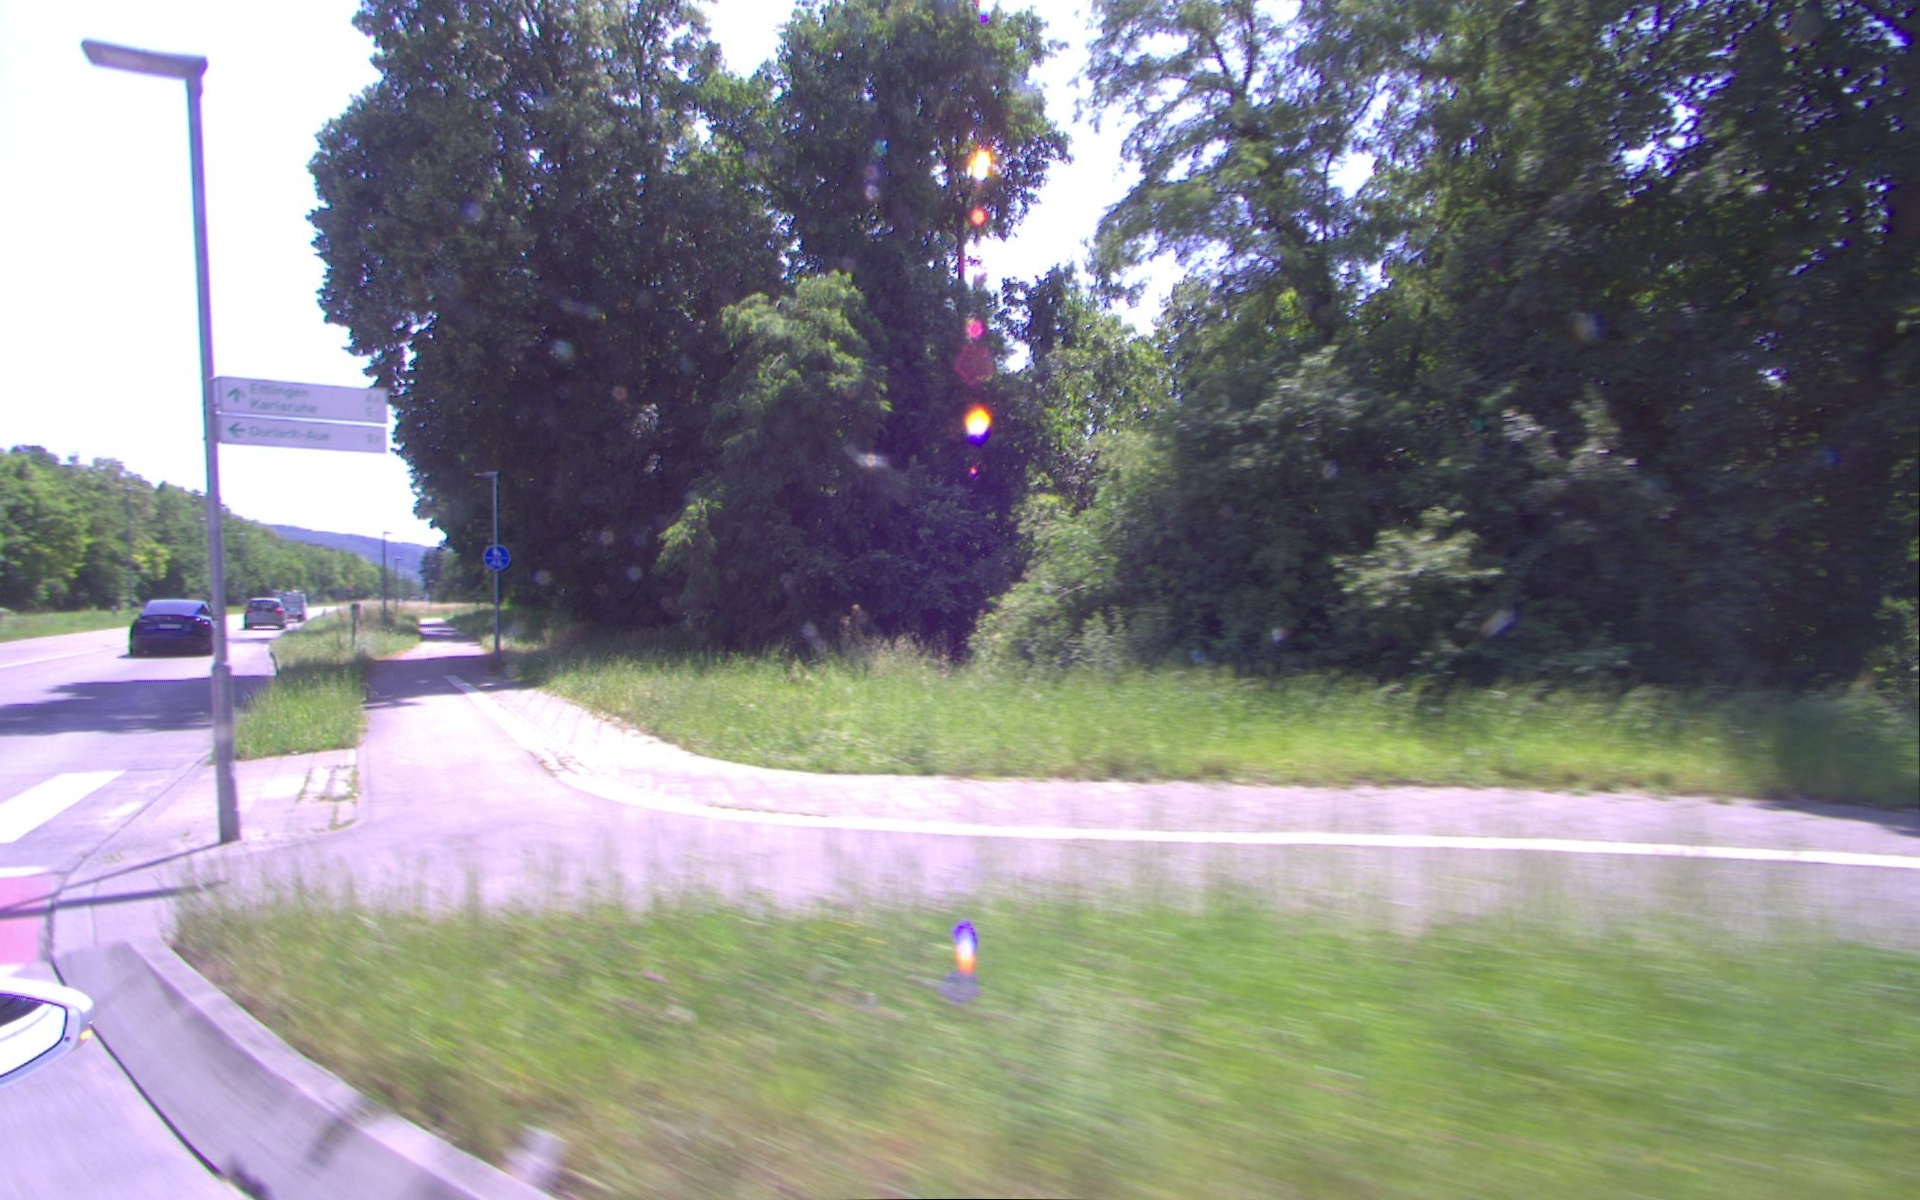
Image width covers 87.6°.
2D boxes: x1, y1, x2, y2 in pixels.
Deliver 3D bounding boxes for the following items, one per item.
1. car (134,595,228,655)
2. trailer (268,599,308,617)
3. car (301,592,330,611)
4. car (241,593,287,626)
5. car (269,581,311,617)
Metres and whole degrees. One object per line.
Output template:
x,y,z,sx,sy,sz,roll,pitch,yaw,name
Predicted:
-23.513,0.701,30.383,1.974,1.661,4.725,0,0,-35,car
-44.369,0.552,66.178,2.100,1.111,3.334,2,-1,-33,trailer
-59.740,0.153,92.885,1.838,1.616,3.983,1,-1,-27,car
-36.750,0.503,52.913,1.766,1.627,4.103,1,-1,-32,car
-46.552,-0.040,69.671,2.143,2.346,4.952,1,-1,-31,car
